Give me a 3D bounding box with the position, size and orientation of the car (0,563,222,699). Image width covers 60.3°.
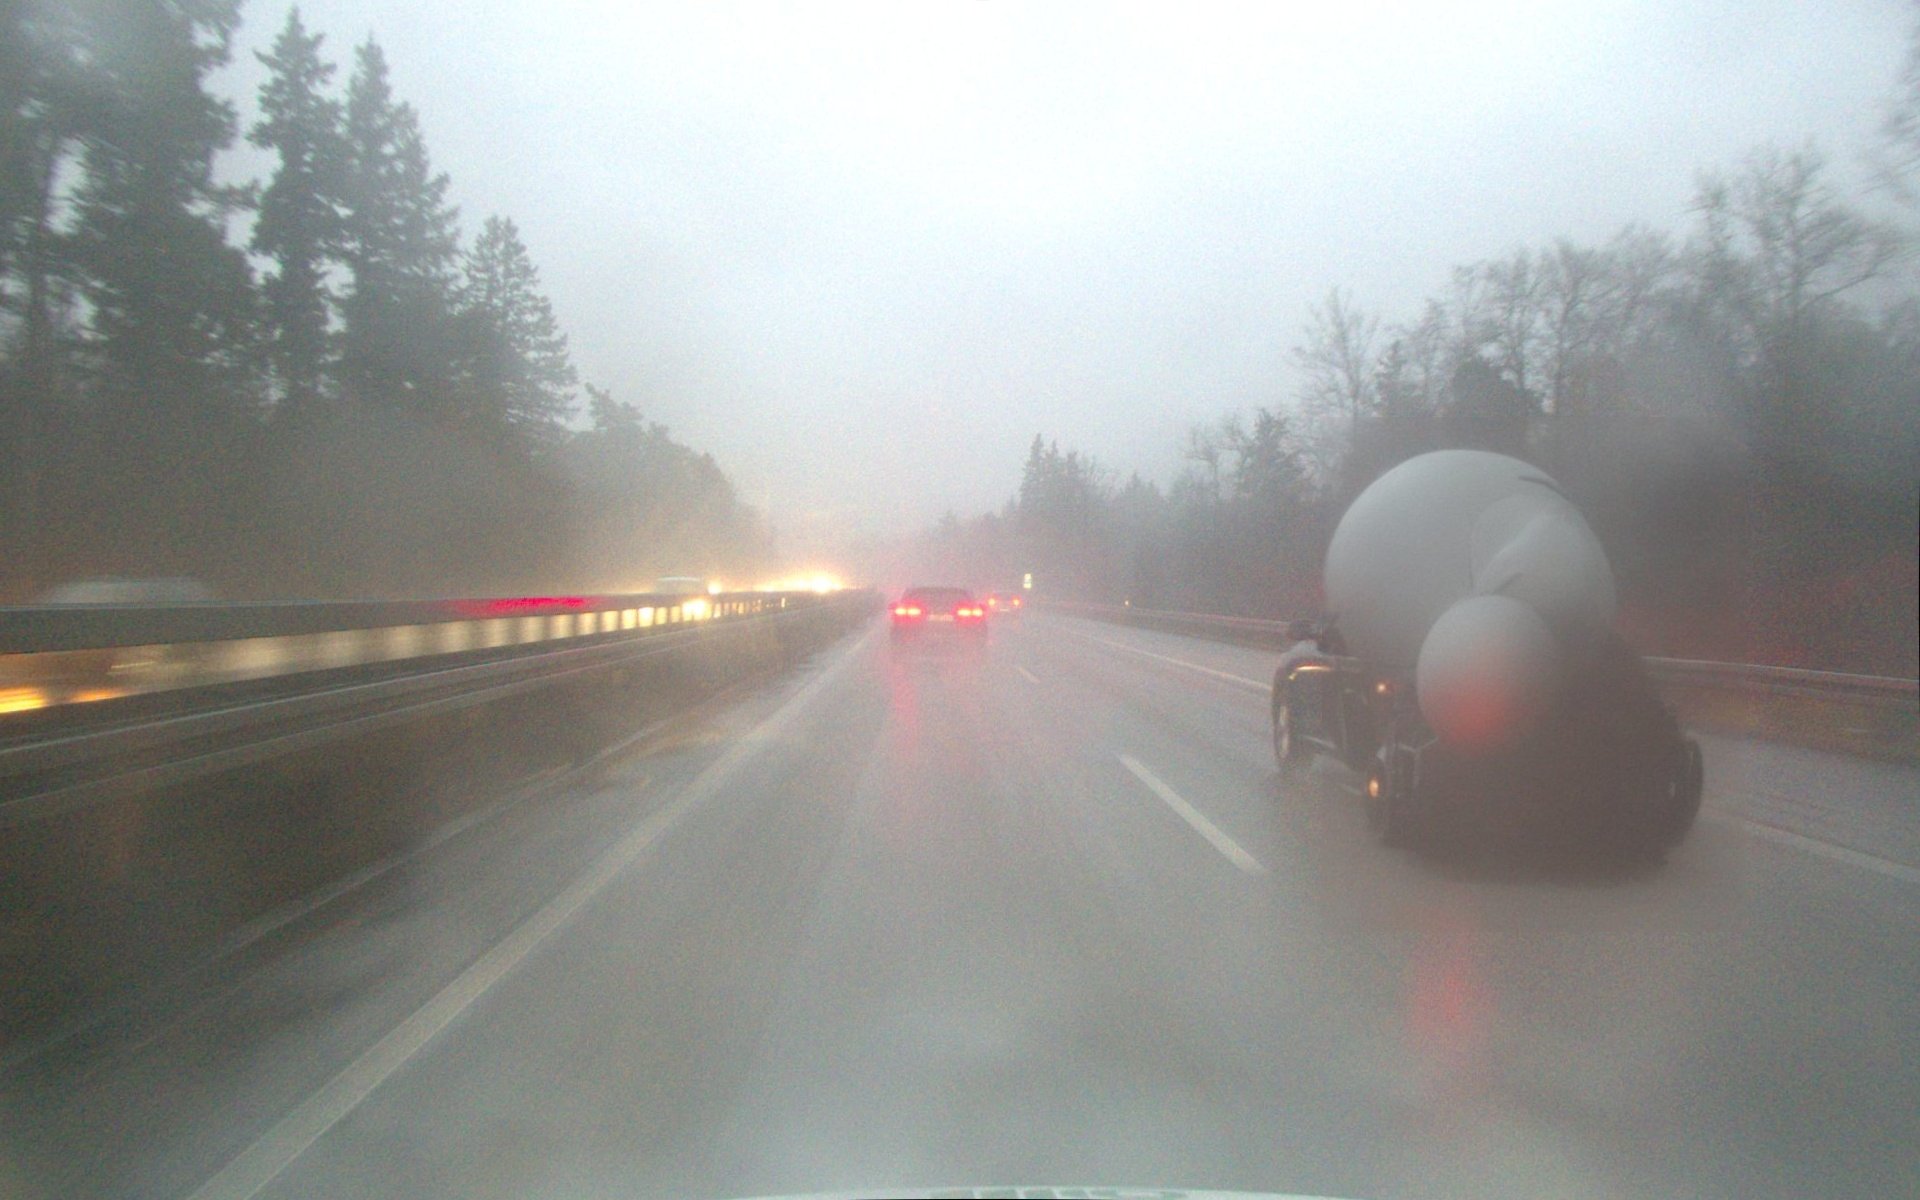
[{"bbox_3d":[-11.882,0.403,22.328,1.954,1.601,4.270,4,-2,-2],"label":"car"}]

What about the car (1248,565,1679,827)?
[{"bbox_3d":[3.753,0.629,13.272,2.028,1.727,4.460,1,0,-1],"label":"car"}]

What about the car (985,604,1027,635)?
[{"bbox_3d":[2.291,0.965,83.260,1.745,1.462,3.534,1,0,-4],"label":"car"}]

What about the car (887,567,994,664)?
[{"bbox_3d":[-0.455,0.280,32.816,1.947,1.798,4.170,0,0,-3],"label":"car"}]

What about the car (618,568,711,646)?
[{"bbox_3d":[-8.262,0.175,46.648,1.894,2.049,4.638,1,0,-2],"label":"car"}]
